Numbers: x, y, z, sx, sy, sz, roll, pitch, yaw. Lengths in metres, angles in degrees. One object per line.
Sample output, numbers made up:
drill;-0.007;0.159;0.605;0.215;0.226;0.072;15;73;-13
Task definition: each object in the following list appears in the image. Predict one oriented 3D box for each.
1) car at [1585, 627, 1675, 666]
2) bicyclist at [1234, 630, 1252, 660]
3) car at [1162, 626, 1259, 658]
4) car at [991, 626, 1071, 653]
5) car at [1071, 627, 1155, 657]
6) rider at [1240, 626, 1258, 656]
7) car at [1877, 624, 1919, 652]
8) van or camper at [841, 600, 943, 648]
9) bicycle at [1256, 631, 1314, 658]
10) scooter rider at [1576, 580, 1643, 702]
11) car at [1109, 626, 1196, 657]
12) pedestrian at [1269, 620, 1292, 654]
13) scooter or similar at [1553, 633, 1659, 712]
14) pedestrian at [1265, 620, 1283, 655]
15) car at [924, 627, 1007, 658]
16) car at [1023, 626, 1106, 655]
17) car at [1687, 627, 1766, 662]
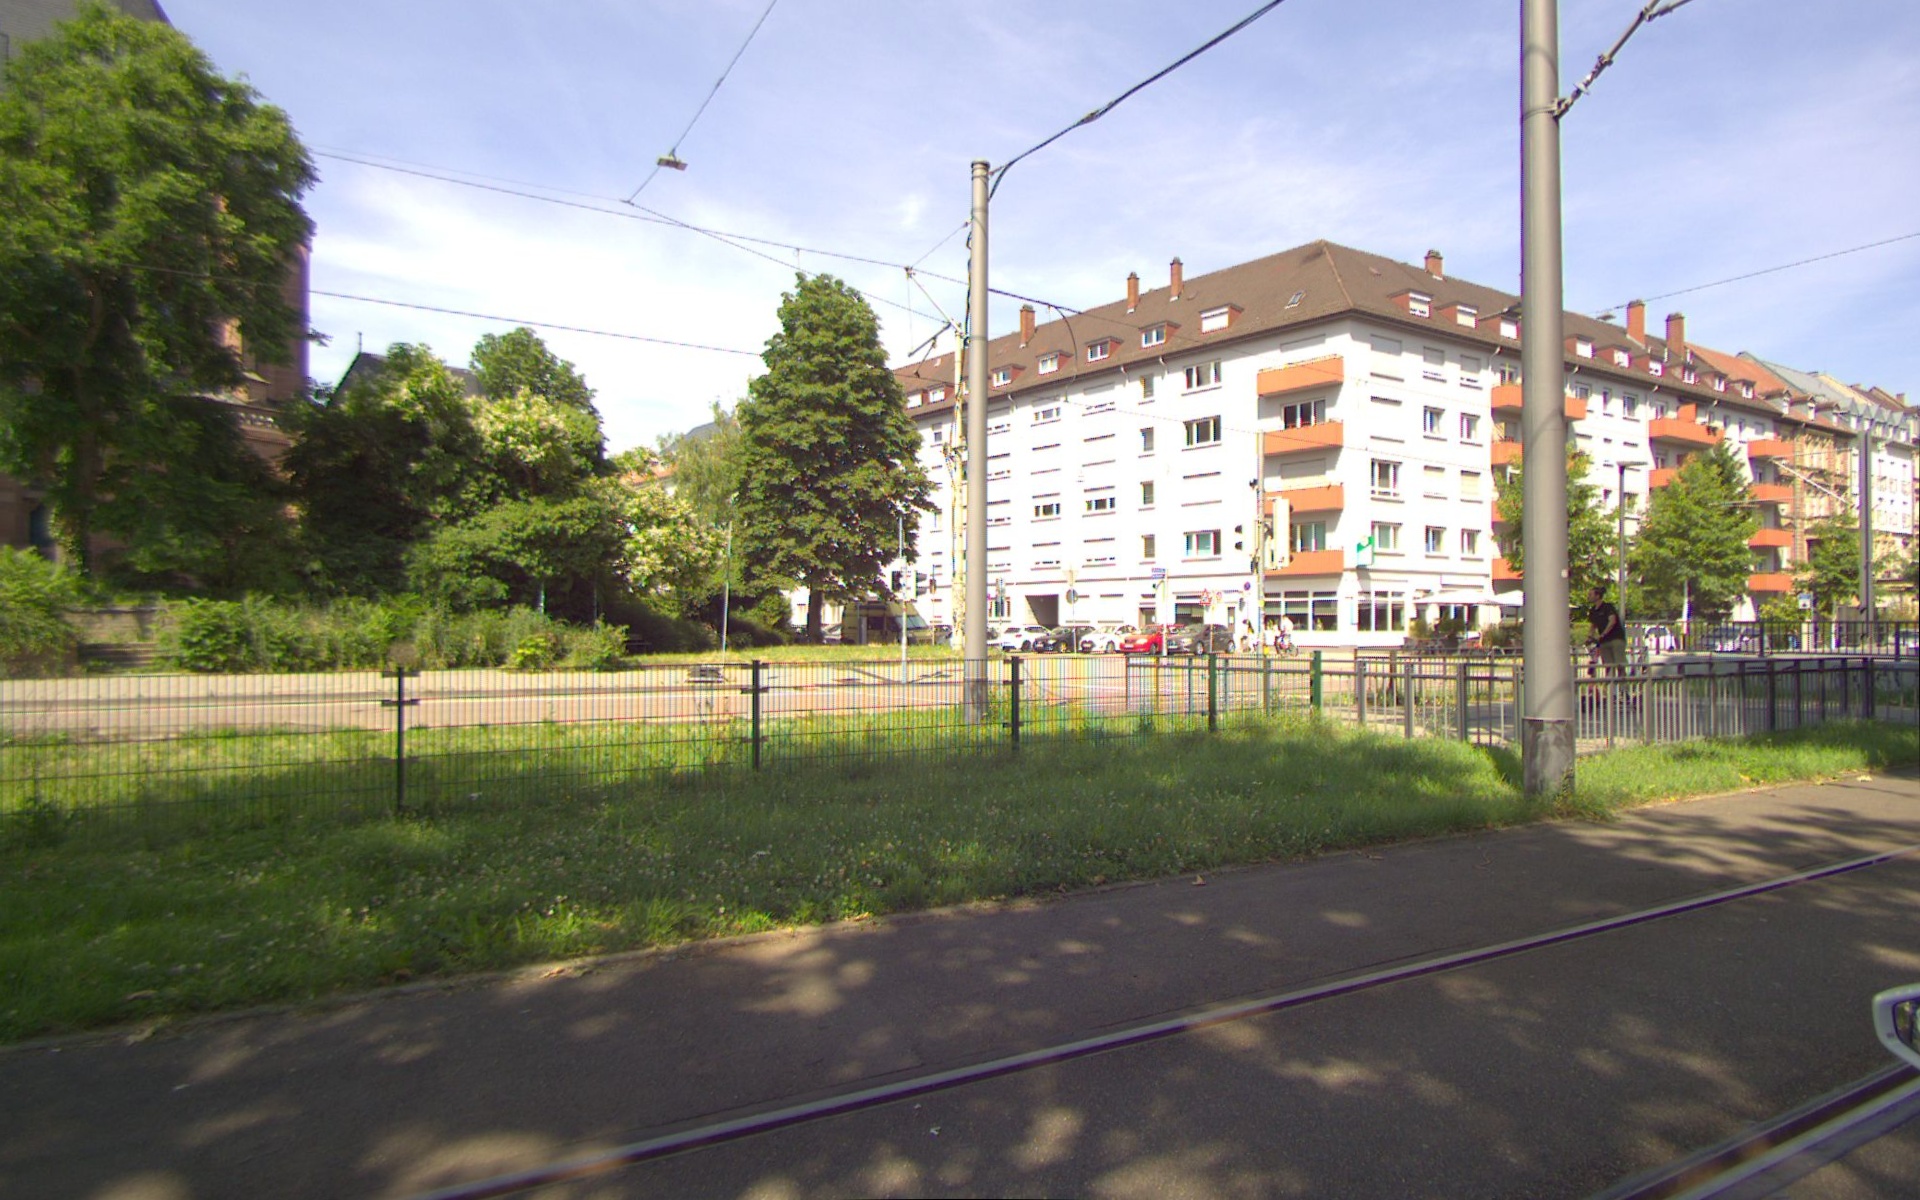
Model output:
car;27.357;1.873;40.989;3.961;1.518;1.759;1;-3;-36
bicyclist;13.540;2.155;48.058;0.616;1.442;0.587;-1;-1;44
car;11.461;1.898;45.807;4.598;1.394;1.821;1;-2;-36
car;3.895;2.116;54.557;4.129;1.425;1.918;1;-1;-38
car;7.750;2.084;50.715;4.129;1.425;1.918;1;-2;-38
rider;13.951;1.984;48.490;0.616;1.442;0.587;-1;-1;44
car;53.035;2.126;56.247;3.961;1.518;1.758;1;-2;-36
van or camper;-3.600;1.248;52.036;2.228;2.360;5.704;1;-2;-42
bicycle;14.223;1.936;43.943;2.779;1.152;0.905;1;-1;-34
scooter rider;10.320;0.642;15.975;0.655;1.891;0.664;0;-1;6
car;9.293;1.953;48.401;4.129;1.425;1.918;1;-2;-38
pedestrian;14.983;1.722;47.012;0.846;1.593;0.688;-1;-1;36
scooter or similar;10.263;1.132;15.983;1.245;1.220;0.658;0;-1;6
pedestrian;14.556;1.725;46.551;0.679;1.593;0.544;-1;-1;36
car;0.232;1.994;47.644;3.702;1.425;1.823;-1;-2;44
car;5.460;2.091;52.279;4.129;1.425;1.918;1;-2;-38
car;34.624;1.999;45.362;3.961;1.518;1.759;1;-3;-36
